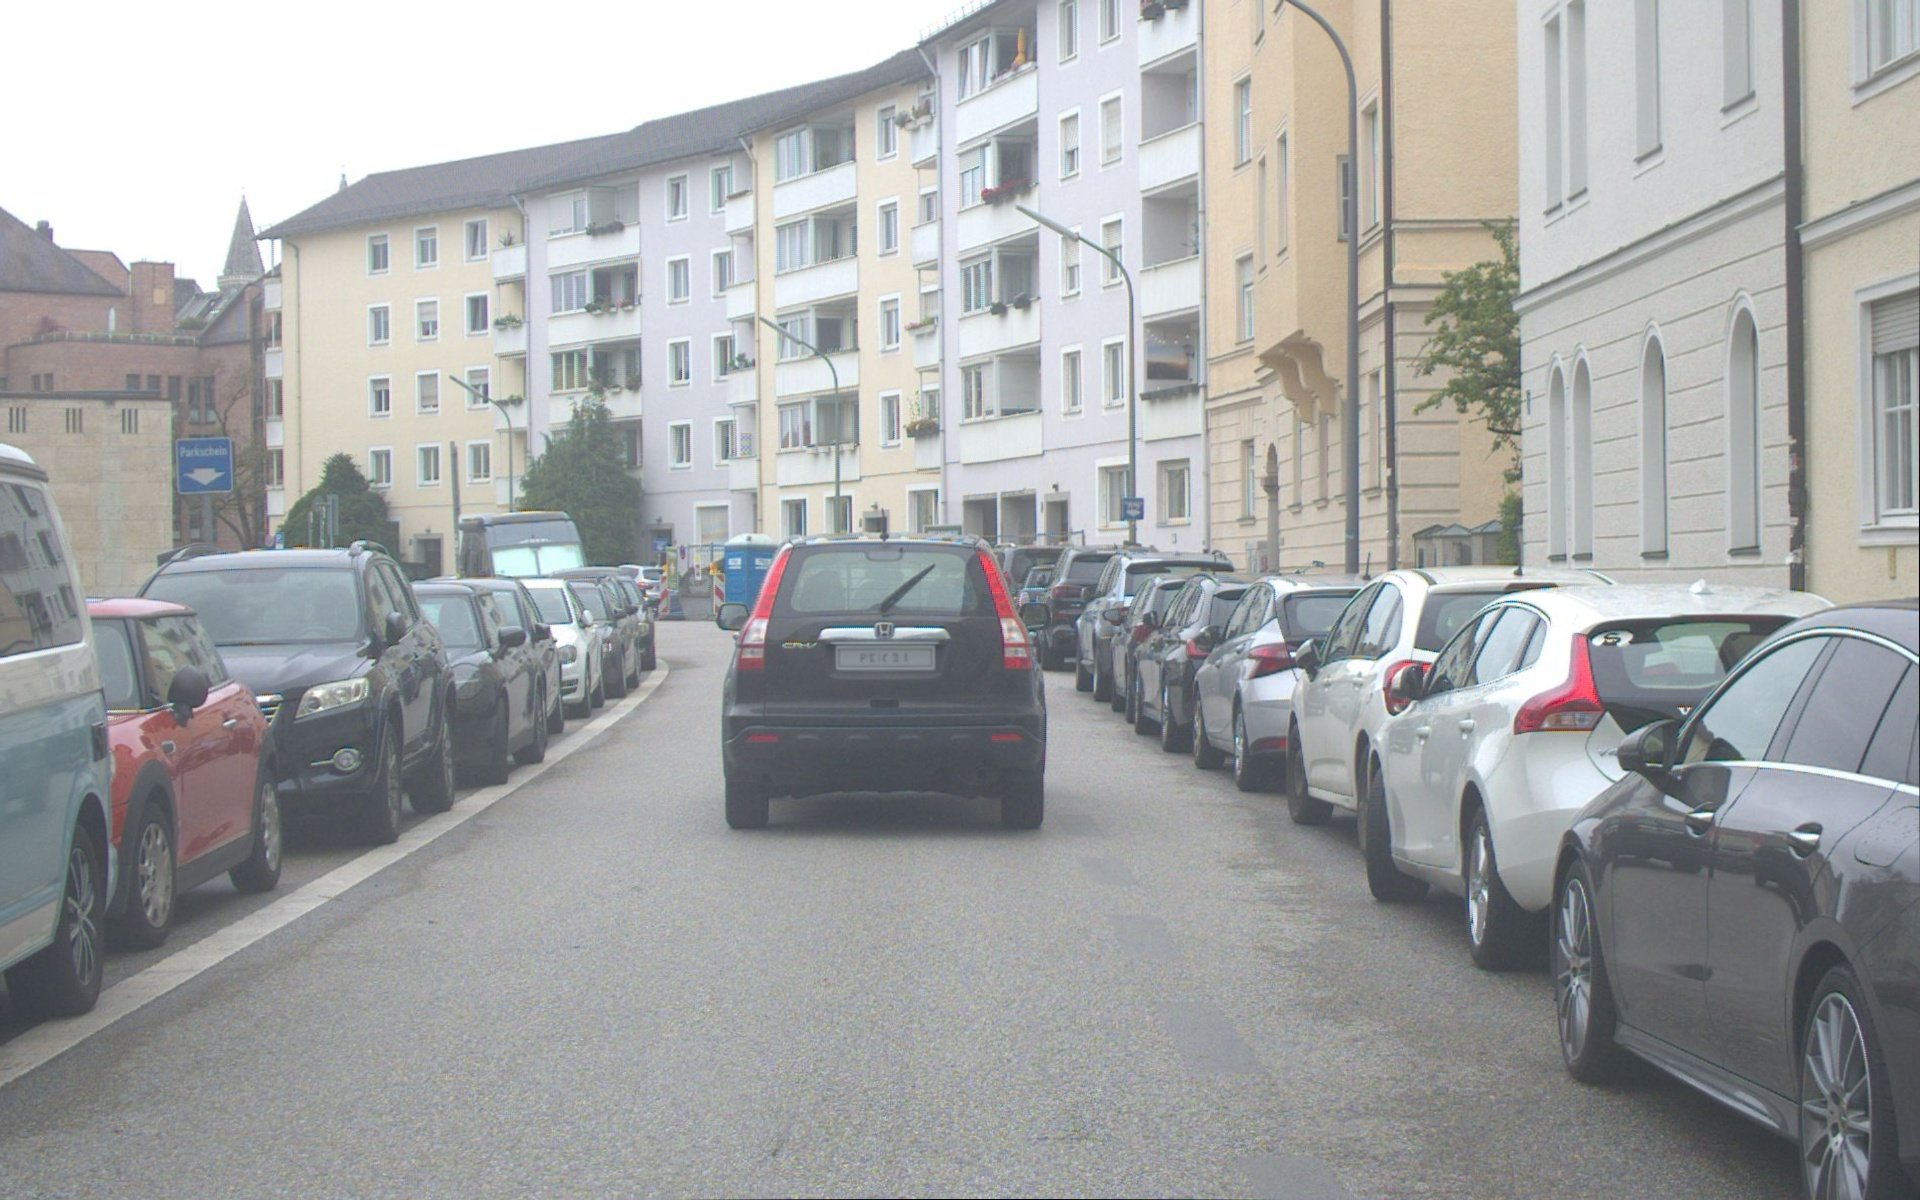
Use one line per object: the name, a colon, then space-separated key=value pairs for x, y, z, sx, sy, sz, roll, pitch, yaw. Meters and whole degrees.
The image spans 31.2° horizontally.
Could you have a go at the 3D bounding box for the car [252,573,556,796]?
car: x=-4.047 y=0.565 z=25.570 sx=1.680 sy=1.448 sz=3.870 roll=-2 pitch=1 yaw=-2

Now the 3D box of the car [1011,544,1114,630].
car: x=1.789 y=-0.241 z=61.134 sx=1.708 sy=1.442 sz=3.830 roll=1 pitch=0 yaw=0

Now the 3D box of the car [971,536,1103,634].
car: x=1.450 y=-0.296 z=66.229 sx=1.777 sy=1.800 sz=4.277 roll=1 pitch=0 yaw=-9

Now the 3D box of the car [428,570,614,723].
car: x=-4.600 y=0.447 z=36.445 sx=1.656 sy=1.448 sz=4.074 roll=-2 pitch=1 yaw=-4

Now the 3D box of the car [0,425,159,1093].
car: x=-3.813 y=0.488 z=10.164 sx=1.928 sy=1.972 sz=5.023 roll=-2 pitch=1 yaw=-3

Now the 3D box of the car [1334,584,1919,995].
car: x=2.691 y=0.651 z=14.231 sx=1.679 sy=1.405 sz=4.443 roll=0 pitch=0 yaw=-2

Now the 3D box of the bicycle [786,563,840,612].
bicycle: x=-4.201 y=-0.367 z=98.044 sx=0.968 sy=1.384 sz=2.564 roll=0 pitch=0 yaw=-16

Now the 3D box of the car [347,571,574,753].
car: x=-4.413 y=0.499 z=30.820 sx=1.656 sy=1.448 sz=3.975 roll=-2 pitch=1 yaw=-4

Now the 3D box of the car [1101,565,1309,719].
car: x=2.376 y=0.376 z=34.182 sx=1.679 sy=1.422 sz=4.087 roll=0 pitch=0 yaw=-1

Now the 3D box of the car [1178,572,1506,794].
car: x=2.597 y=0.518 z=24.261 sx=1.679 sy=1.422 sz=4.167 roll=0 pitch=0 yaw=-2

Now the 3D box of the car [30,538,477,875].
car: x=-4.034 y=0.536 z=20.343 sx=1.743 sy=1.660 sz=4.449 roll=-4 pitch=1 yaw=-2

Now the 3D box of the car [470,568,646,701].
car: x=-4.801 y=0.374 z=41.526 sx=1.755 sy=1.448 sz=4.396 roll=-2 pitch=1 yaw=-3

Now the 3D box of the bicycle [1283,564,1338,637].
bicycle: x=5.505 y=-0.005 z=54.017 sx=0.579 sy=1.079 sz=1.953 roll=-3 pitch=1 yaw=-1

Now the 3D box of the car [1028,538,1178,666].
car: x=2.002 y=0.011 z=49.258 sx=1.869 sy=1.711 sz=4.866 roll=1 pitch=0 yaw=-1

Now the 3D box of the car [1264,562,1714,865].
car: x=2.793 y=0.541 z=19.021 sx=1.679 sy=1.476 sz=4.167 roll=0 pitch=0 yaw=-2

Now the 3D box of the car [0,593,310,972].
car: x=-4.040 y=0.683 z=14.910 sx=1.743 sy=1.382 sz=3.918 roll=0 pitch=1 yaw=-1

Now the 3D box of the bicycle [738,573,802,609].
bicycle: x=-5.850 y=-0.285 z=105.730 sx=1.865 sy=1.087 sz=0.566 roll=0 pitch=0 yaw=-22

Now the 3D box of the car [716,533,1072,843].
car: x=-0.490 y=0.450 z=20.385 sx=1.890 sy=1.642 sz=3.992 roll=0 pitch=0 yaw=-4

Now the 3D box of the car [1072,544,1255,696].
car: x=2.269 y=0.201 z=39.355 sx=1.722 sy=1.628 sz=4.458 roll=0 pitch=0 yaw=-1

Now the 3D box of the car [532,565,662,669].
car: x=-5.409 y=0.220 z=51.409 sx=1.799 sy=1.401 sz=4.456 roll=-2 pitch=1 yaw=-5

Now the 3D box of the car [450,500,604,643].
car: x=-8.590 y=-0.575 z=67.709 sx=2.163 sy=2.632 sz=6.019 roll=-2 pitch=1 yaw=-15

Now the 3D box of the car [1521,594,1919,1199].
car: x=2.626 y=0.706 z=8.354 sx=1.679 sy=1.405 sz=4.422 roll=0 pitch=0 yaw=-2

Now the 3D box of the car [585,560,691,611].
car: x=-9.652 y=-0.453 z=102.790 sx=1.724 sy=1.478 sz=4.000 roll=0 pitch=1 yaw=-29

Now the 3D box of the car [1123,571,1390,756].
car: x=2.407 y=0.470 z=28.840 sx=1.679 sy=1.422 sz=4.391 roll=0 pitch=0 yaw=-2

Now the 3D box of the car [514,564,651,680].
car: x=-5.077 y=0.266 z=46.582 sx=1.656 sy=1.448 sz=3.313 roll=-2 pitch=1 yaw=-4

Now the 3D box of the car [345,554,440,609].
car: x=-19.737 y=-0.649 z=119.457 sx=1.724 sy=1.871 sz=4.000 roll=0 pitch=1 yaw=-35
